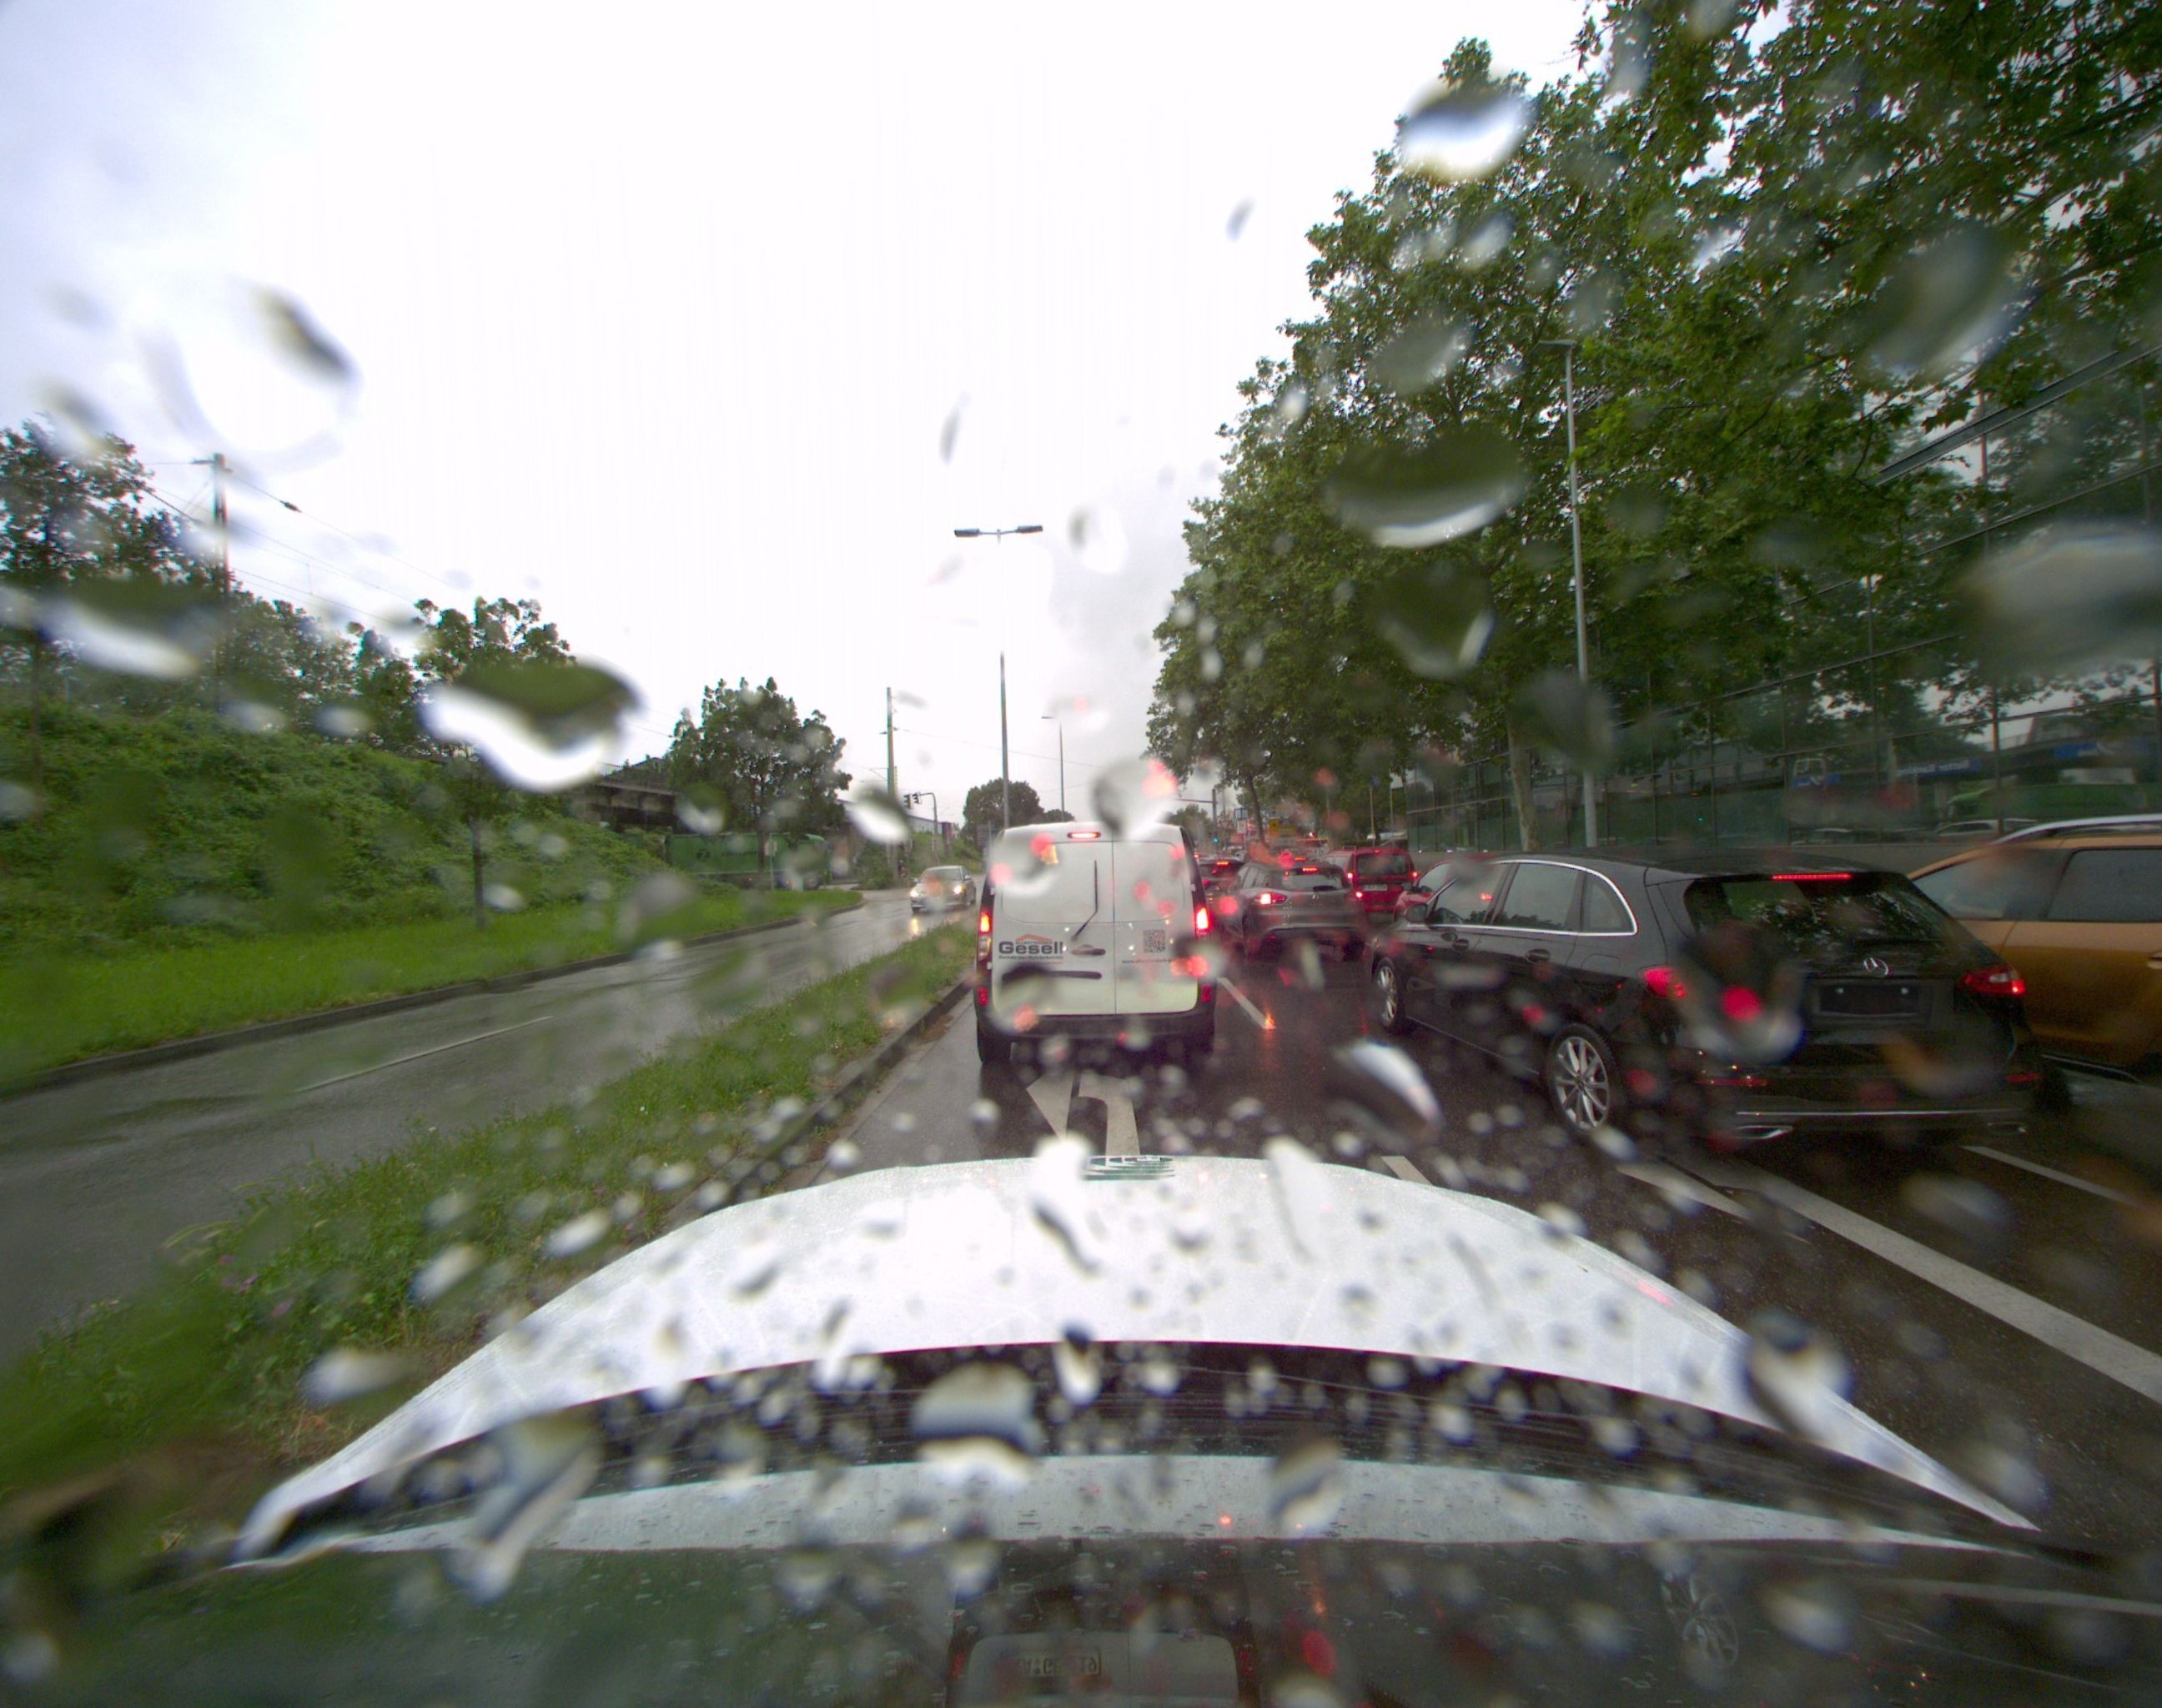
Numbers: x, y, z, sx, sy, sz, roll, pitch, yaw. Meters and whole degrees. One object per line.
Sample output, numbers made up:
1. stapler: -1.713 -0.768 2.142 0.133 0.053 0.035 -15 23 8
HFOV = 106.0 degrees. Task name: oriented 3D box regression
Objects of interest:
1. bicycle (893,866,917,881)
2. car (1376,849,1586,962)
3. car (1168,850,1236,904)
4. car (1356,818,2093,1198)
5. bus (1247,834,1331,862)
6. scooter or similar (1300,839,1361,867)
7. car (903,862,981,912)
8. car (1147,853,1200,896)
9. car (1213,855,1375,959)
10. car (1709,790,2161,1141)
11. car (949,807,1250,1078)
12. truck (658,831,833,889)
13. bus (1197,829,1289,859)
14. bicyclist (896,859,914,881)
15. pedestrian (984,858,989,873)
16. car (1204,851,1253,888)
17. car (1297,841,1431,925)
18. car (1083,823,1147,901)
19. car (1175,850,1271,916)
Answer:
1. bicycle: -12.125 1.329 56.023 1.045 0.952 2.866 -2 0 -22
2. car: 5.883 0.675 12.419 1.563 1.462 3.390 -1 0 1
3. car: 4.062 0.726 27.900 1.847 1.649 3.844 -1 0 2
4. car: 3.378 0.645 5.449 1.741 1.554 4.091 -1 0 1
5. bus: 29.715 -0.880 116.186 11.994 3.423 2.470 -2 0 -16
6. scooter or similar: 23.452 -0.081 76.684 1.905 2.446 5.257 -1 0 -39
7. car: -4.679 1.074 27.958 1.810 1.462 4.001 -4 0 1
8. car: 3.759 0.812 33.640 1.847 1.650 3.844 -1 -1 2
9. car: 3.241 0.737 13.151 1.677 1.408 3.844 0 0 1
10. car: 6.054 0.529 4.755 1.668 1.685 4.149 0 1 2
11. car: 0.195 0.587 7.772 1.986 1.776 4.587 -1 0 2
12. truck: -21.330 0.283 52.327 10.105 3.371 2.322 -2 0 -35
13. bus: 21.895 -1.353 110.590 11.926 3.423 2.316 -2 0 1
14. bicyclist: -12.094 1.081 55.927 1.045 1.450 0.723 -2 0 -23
15. pedestrian: -11.243 1.365 96.721 0.541 1.716 0.563 0 -1 -2
16. car: 6.901 0.707 38.430 1.702 1.650 3.844 -1 -1 2
17. car: 6.311 0.614 18.678 1.704 1.694 4.273 0 -1 2
18. car: 1.088 0.240 26.458 1.847 2.296 3.844 -1 0 2
19. car: 3.503 0.662 20.681 1.847 1.460 3.844 -1 0 2
